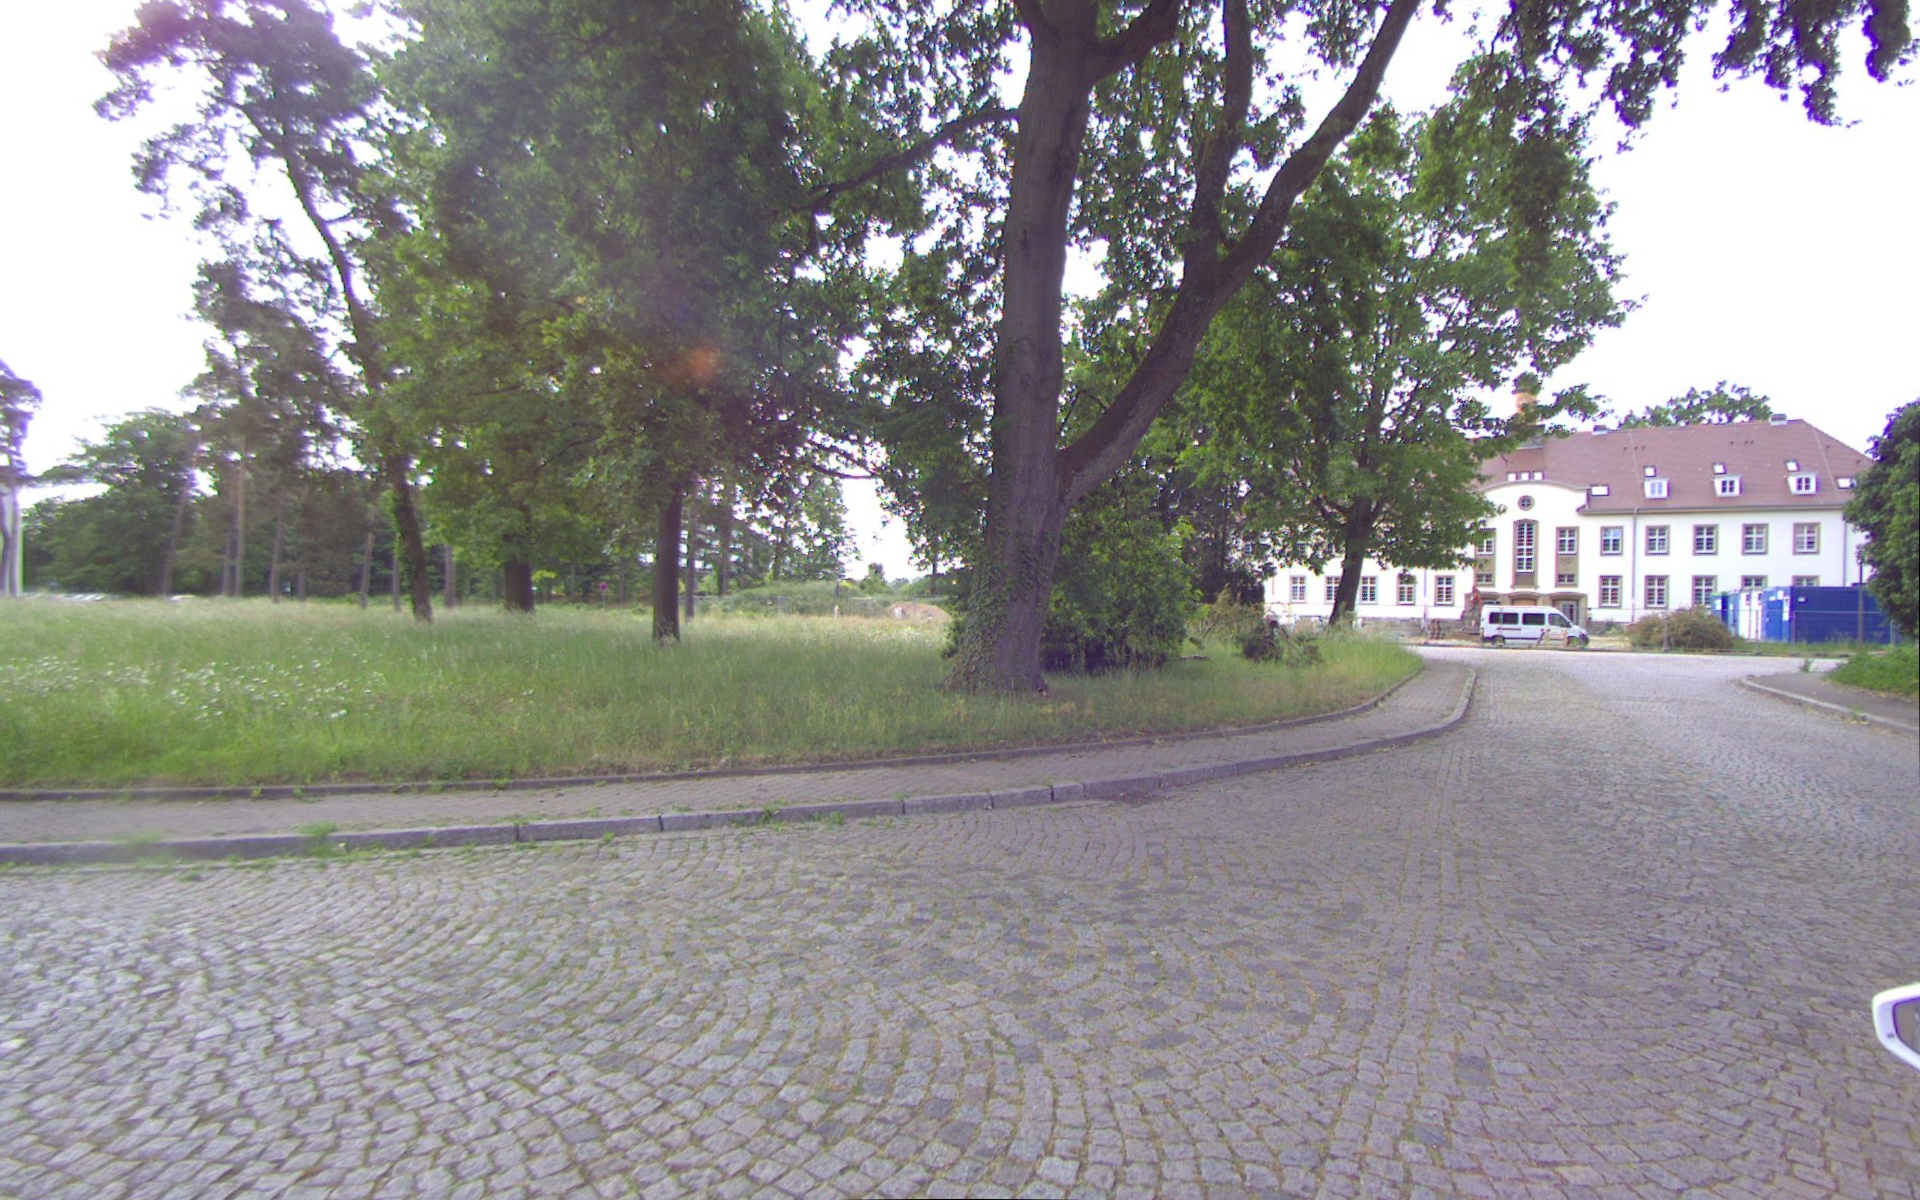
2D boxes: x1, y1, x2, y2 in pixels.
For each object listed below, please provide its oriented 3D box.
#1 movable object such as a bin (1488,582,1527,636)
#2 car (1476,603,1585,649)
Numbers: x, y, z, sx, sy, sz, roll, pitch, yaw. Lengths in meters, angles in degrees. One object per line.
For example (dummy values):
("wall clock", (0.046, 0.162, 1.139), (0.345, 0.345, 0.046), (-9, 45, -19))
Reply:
("movable object such as a bin", (40.175, 0.648, 73.802), (1.962, 3.821, 5.314), (1, 0, 24))
("car", (31.728, 1.409, 56.024), (5.185, 2.375, 1.907), (1, 0, 30))
